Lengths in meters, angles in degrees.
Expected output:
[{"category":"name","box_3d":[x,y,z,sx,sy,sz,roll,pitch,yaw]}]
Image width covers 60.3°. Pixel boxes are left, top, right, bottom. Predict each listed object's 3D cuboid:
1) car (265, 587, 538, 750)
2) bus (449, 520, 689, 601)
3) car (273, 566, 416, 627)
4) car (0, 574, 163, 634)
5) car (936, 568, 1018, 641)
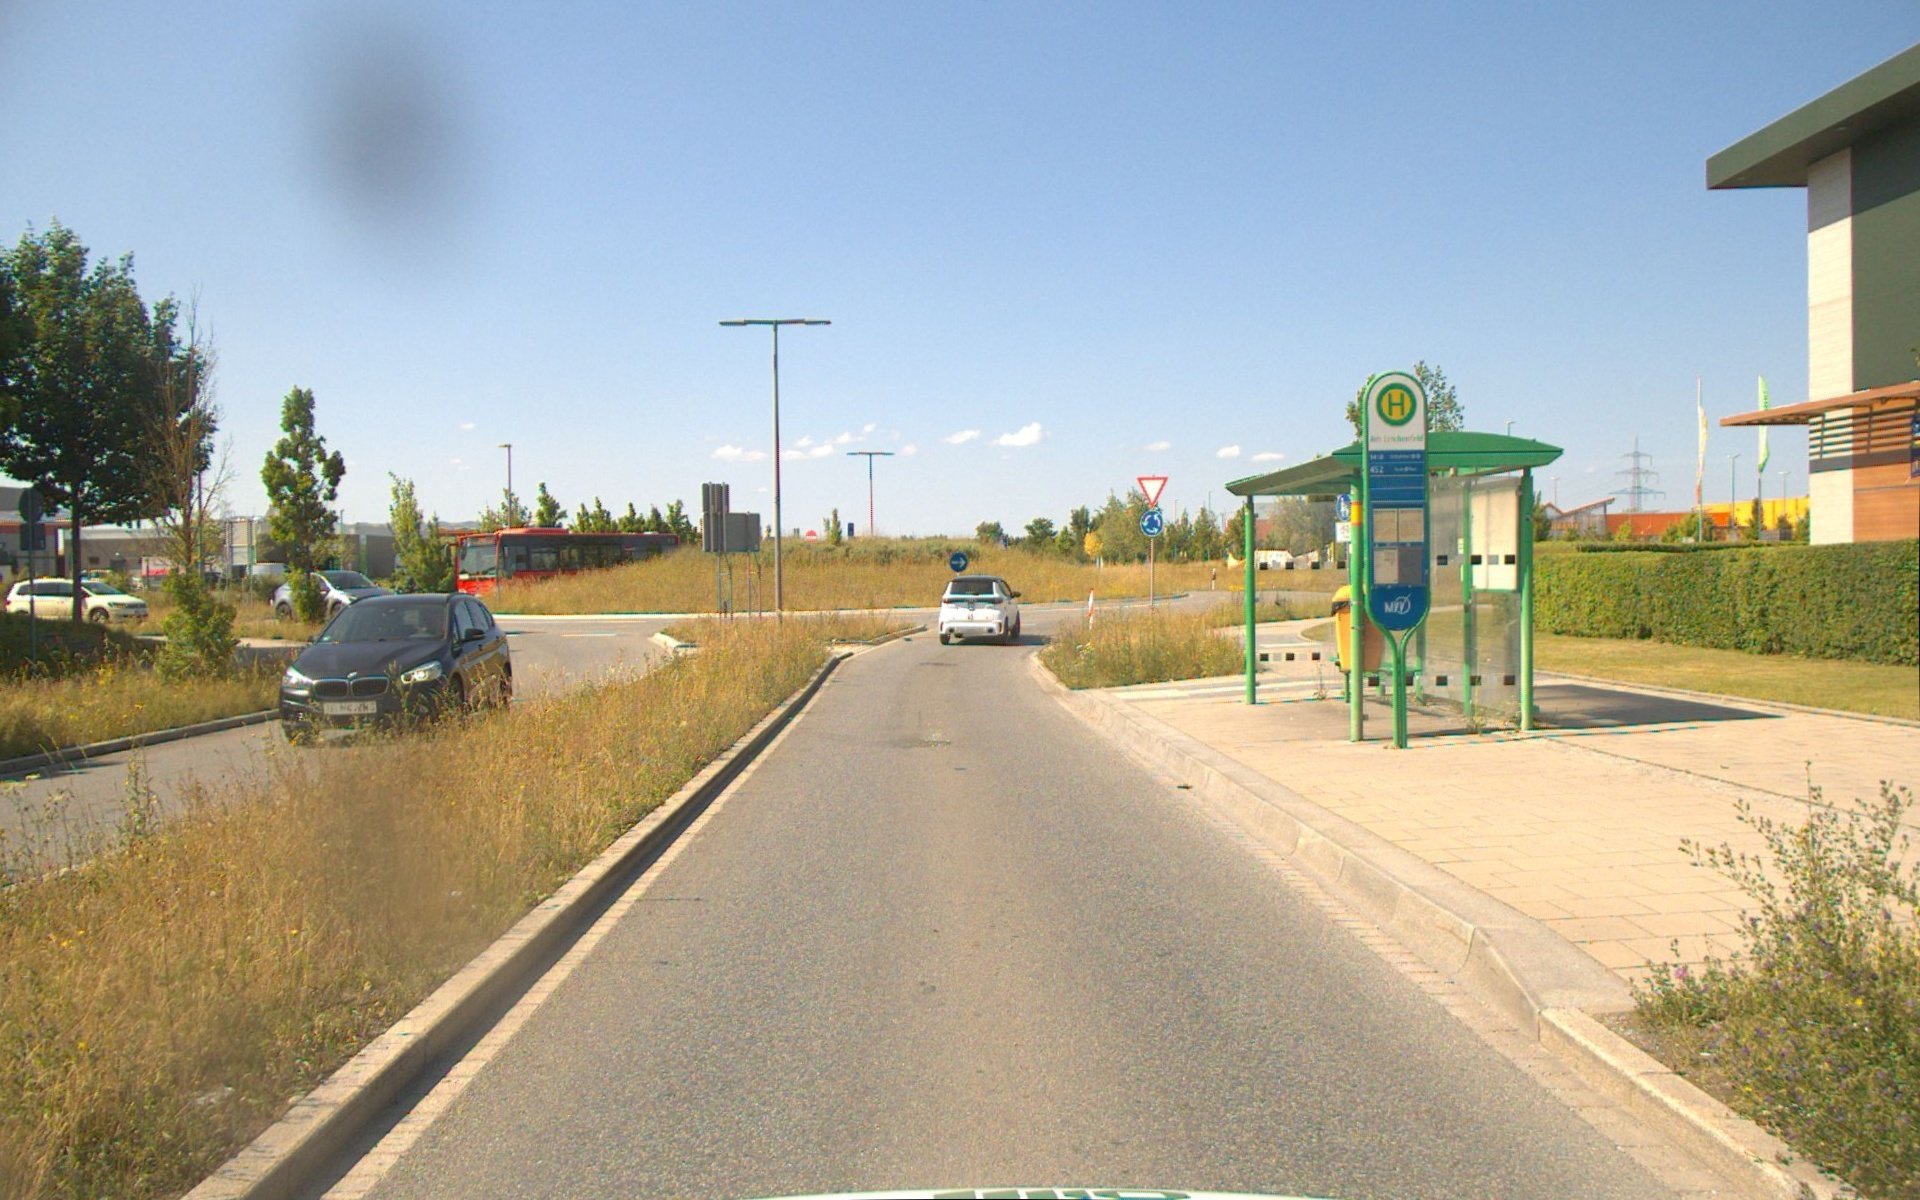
[{"category":"car","box_3d":[-6.252,0.681,19.033,1.723,1.570,4.239,-3,1,-2]},{"category":"bus","box_3d":[-16.929,-1.874,73.048,2.734,3.132,12.186,-1,3,29]},{"category":"car","box_3d":[-18.279,-0.149,49.044,4.537,1.654,1.954,1,3,39]},{"category":"car","box_3d":[-28.666,0.121,53.894,4.477,1.694,1.849,-2,2,8]},{"category":"car","box_3d":[0.433,0.069,37.764,1.582,1.459,3.796,-1,3,5]}]
